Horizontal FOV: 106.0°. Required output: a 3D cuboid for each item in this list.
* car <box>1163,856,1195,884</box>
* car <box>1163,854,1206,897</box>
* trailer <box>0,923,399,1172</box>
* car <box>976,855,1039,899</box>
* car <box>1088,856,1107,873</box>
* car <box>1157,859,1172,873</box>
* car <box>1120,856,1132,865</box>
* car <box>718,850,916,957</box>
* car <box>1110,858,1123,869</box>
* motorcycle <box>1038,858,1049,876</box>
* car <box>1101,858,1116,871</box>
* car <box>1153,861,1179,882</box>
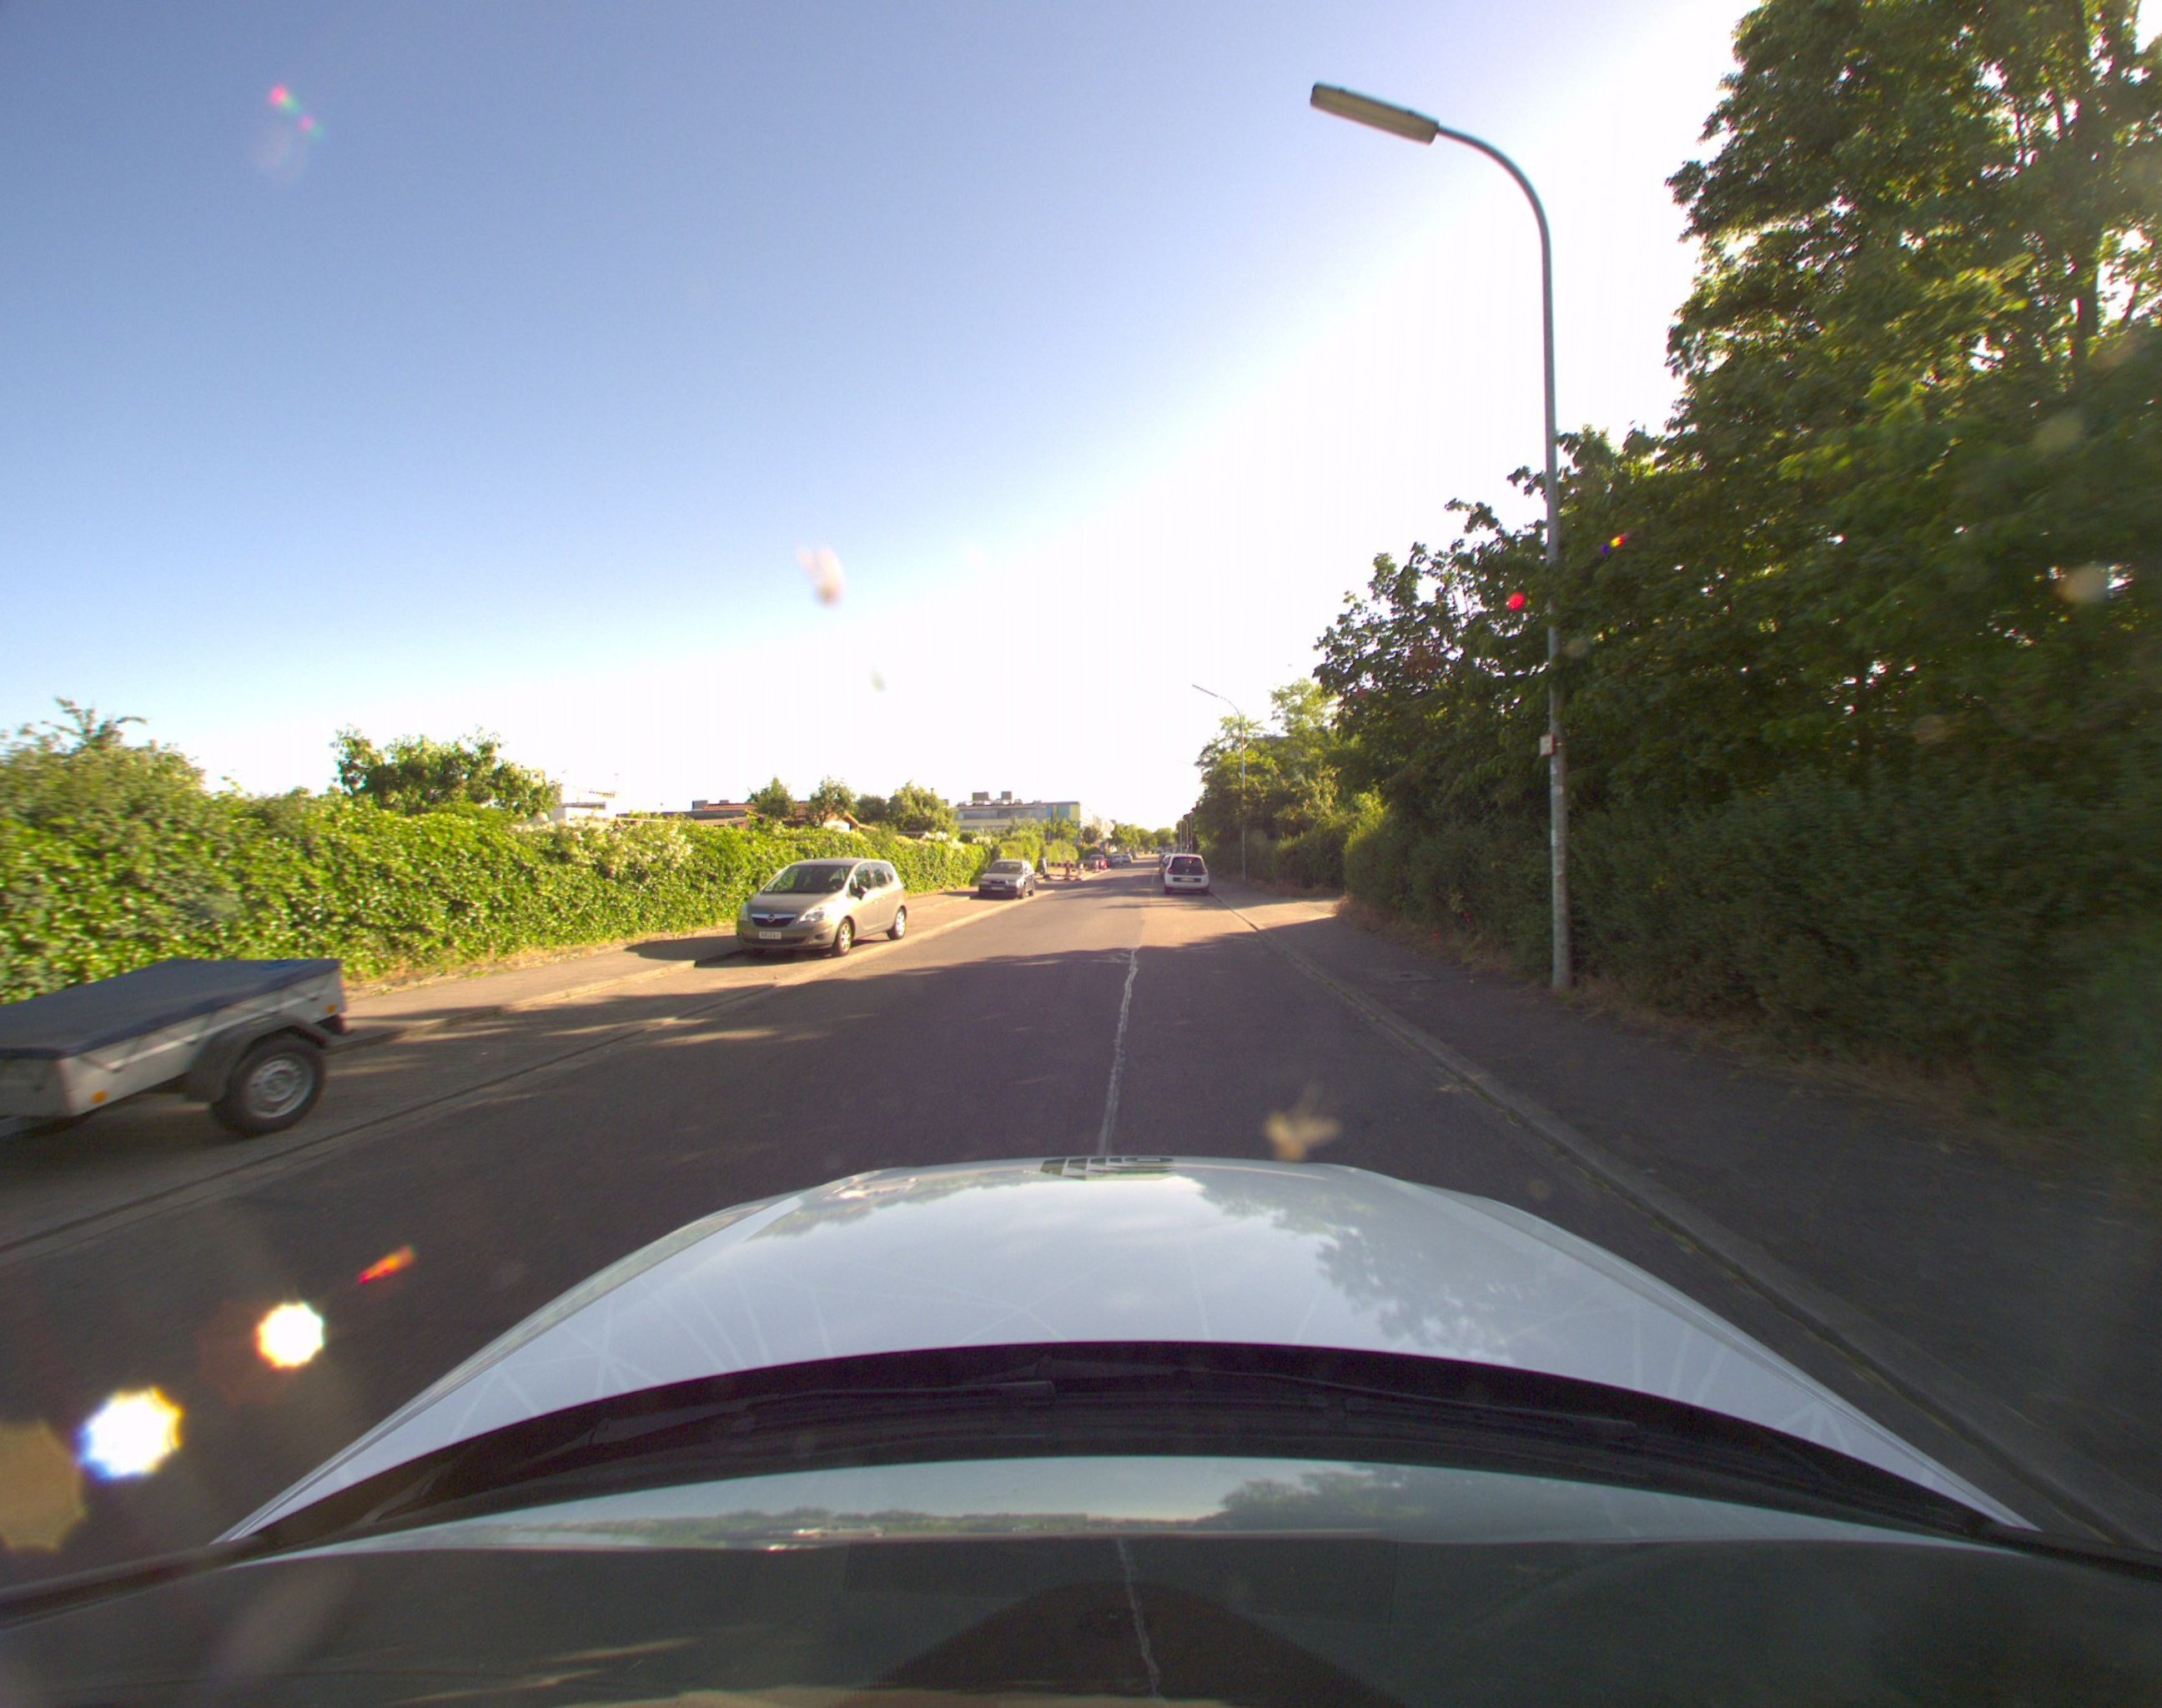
[{"bbox_3d":[5.530,0.908,46.458,1.647,1.486,3.844,1,0,5],"label":"car"},{"bbox_3d":[3.984,0.805,31.753,1.548,1.538,3.561,1,0,5],"label":"car"},{"bbox_3d":[-5.592,0.963,4.312,1.535,0.953,2.653,1,0,8],"label":"trailer"},{"bbox_3d":[-2.828,0.847,32.184,1.635,1.556,4.424,2,0,5],"label":"car"},{"bbox_3d":[1.654,0.995,78.565,1.552,1.495,3.575,-1,-1,5],"label":"car"},{"bbox_3d":[9.736,1.344,94.510,1.614,1.526,3.908,1,0,6],"label":"car"},{"bbox_3d":[7.955,1.157,143.196,1.845,1.428,4.140,1,0,5],"label":"car"},{"bbox_3d":[-4.465,0.759,14.551,1.634,1.600,4.320,1,0,7],"label":"car"},{"bbox_3d":[4.995,1.291,113.994,1.552,1.495,3.764,-1,-1,5],"label":"car"},{"bbox_3d":[-2.675,0.938,58.118,0.564,1.268,2.091,0,-1,2],"label":"motorcycle"},{"bbox_3d":[3.286,1.237,96.979,1.552,1.495,3.575,2,0,5],"label":"car"},{"bbox_3d":[6.214,1.235,60.010,1.746,1.413,4.661,1,0,4],"label":"car"}]
